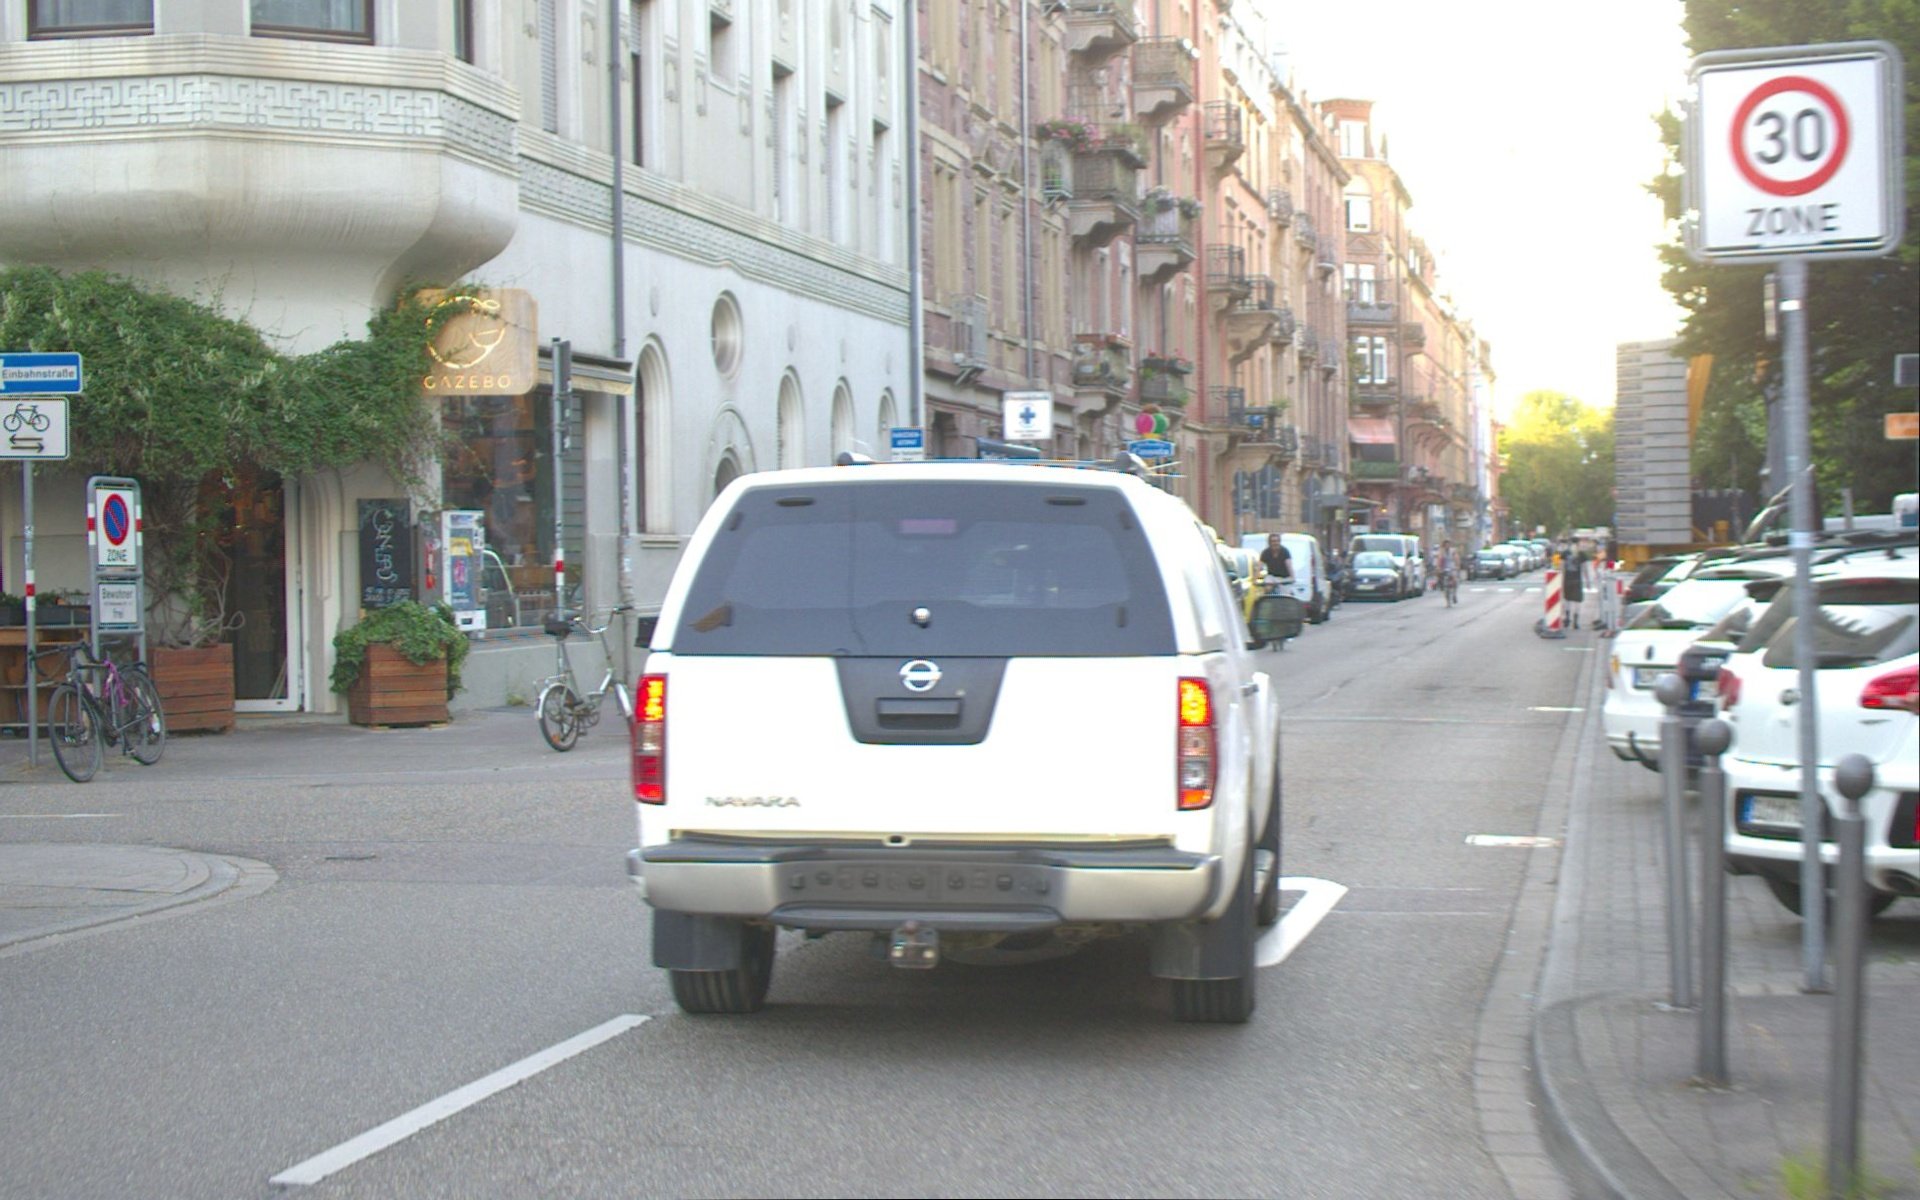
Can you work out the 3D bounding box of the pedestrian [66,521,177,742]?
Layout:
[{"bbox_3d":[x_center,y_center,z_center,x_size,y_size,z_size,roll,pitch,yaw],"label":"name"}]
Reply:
[{"bbox_3d":[-6.418,0.231,26.313,0.614,1.669,0.568,-1,1,-40],"label":"pedestrian"}]

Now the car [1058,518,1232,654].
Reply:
[{"bbox_3d":[2.810,-0.233,51.102,1.905,1.919,4.944,0,1,11],"label":"car"}]

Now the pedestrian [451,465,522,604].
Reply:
[{"bbox_3d":[-4.594,-0.633,33.374,0.539,1.345,0.518,0,1,12],"label":"pedestrian"}]

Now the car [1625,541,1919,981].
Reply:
[{"bbox_3d":[4.783,0.506,13.224,3.986,1.501,1.771,-1,1,-18],"label":"car"}]

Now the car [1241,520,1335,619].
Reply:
[{"bbox_3d":[6.714,-0.636,70.093,1.560,1.914,3.855,1,1,10],"label":"car"}]

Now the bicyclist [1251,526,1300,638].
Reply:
[{"bbox_3d":[4.789,-0.277,52.205,0.603,1.679,1.142,-1,1,11],"label":"bicyclist"}]

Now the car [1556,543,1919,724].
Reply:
[{"bbox_3d":[7.850,0.259,31.571,4.371,1.529,1.808,-1,1,-22],"label":"car"}]

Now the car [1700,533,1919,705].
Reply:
[{"bbox_3d":[9.741,0.141,34.826,3.986,1.631,1.759,-2,1,-9],"label":"car"}]

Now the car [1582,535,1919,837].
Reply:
[{"bbox_3d":[5.632,0.415,18.912,3.986,1.518,1.710,-1,-1,-20],"label":"car"}]

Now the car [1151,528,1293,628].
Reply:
[{"bbox_3d":[4.513,-0.395,58.739,1.994,1.647,3.998,0,1,10],"label":"car"}]

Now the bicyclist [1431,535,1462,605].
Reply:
[{"bbox_3d":[12.897,-0.809,91.060,0.800,1.843,0.943,0,1,9],"label":"bicyclist"}]

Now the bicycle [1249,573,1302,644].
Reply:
[{"bbox_3d":[4.794,0.116,52.204,0.615,1.036,1.903,-1,1,11],"label":"bicycle"}]

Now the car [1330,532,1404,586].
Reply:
[{"bbox_3d":[11.689,-1.178,98.597,1.792,1.525,3.998,0,1,11],"label":"car"}]

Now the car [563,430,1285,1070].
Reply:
[{"bbox_3d":[0.103,0.413,12.021,1.934,1.788,4.620,0,0,7],"label":"car"}]

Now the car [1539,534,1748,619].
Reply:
[{"bbox_3d":[14.487,-0.515,72.807,4.198,1.774,1.818,0,1,17],"label":"car"}]

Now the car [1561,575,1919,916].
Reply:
[{"bbox_3d":[5.125,0.610,16.504,3.986,1.468,1.876,-1,-1,-22],"label":"car"}]

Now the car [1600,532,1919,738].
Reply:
[{"bbox_3d":[6.969,0.227,26.475,3.593,1.477,1.723,-1,1,-17],"label":"car"}]

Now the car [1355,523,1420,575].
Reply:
[{"bbox_3d":[13.005,-1.551,104.452,1.711,1.525,3.998,0,1,11],"label":"car"}]

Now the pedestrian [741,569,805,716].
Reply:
[{"bbox_3d":[-1.731,0.389,31.840,0.468,1.345,0.611,0,1,10],"label":"pedestrian"}]

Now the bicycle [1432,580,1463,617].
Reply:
[{"bbox_3d":[12.924,-0.042,91.151,0.800,0.944,2.004,0,1,9],"label":"bicycle"}]

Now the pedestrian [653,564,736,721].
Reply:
[{"bbox_3d":[-2.263,0.353,29.339,0.537,1.320,0.704,0,1,11],"label":"pedestrian"}]

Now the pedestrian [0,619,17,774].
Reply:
[{"bbox_3d":[-7.809,0.762,27.031,0.530,1.210,0.606,-1,1,11],"label":"pedestrian"}]

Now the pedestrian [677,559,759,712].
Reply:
[{"bbox_3d":[-2.114,0.302,30.088,0.537,1.320,0.704,0,1,11],"label":"pedestrian"}]

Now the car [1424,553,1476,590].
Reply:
[{"bbox_3d":[21.439,-1.250,150.216,1.848,1.546,4.353,0,1,13],"label":"car"}]

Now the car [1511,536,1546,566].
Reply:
[{"bbox_3d":[34.956,-3.030,211.351,1.994,1.778,3.998,0,1,12],"label":"car"}]

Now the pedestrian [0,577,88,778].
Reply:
[{"bbox_3d":[-6.896,0.568,25.538,0.572,1.464,0.644,-1,1,9],"label":"pedestrian"}]

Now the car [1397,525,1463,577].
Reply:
[{"bbox_3d":[16.743,-1.751,122.335,1.994,1.778,4.217,0,1,12],"label":"car"}]

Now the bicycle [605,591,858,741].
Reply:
[{"bbox_3d":[-1.790,0.498,26.705,2.114,1.091,0.500,1,2,36],"label":"bicycle"}]

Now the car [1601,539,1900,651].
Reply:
[{"bbox_3d":[11.289,-0.094,49.083,3.824,1.432,1.763,-2,1,-24],"label":"car"}]

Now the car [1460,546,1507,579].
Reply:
[{"bbox_3d":[25.231,-1.829,165.648,1.848,1.546,4.352,0,1,14],"label":"car"}]

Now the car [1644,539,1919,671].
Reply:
[{"bbox_3d":[10.503,0.035,42.907,3.395,1.469,1.775,-3,2,-20],"label":"car"}]

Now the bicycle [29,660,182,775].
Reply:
[{"bbox_3d":[-6.170,0.837,24.909,0.423,0.693,1.779,-1,3,8],"label":"bicycle"}]

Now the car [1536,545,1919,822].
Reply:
[{"bbox_3d":[5.701,0.442,21.045,3.986,1.532,1.636,-1,1,-20],"label":"car"}]

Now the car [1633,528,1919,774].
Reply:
[{"bbox_3d":[6.670,0.295,23.748,3.593,1.575,1.716,-1,1,-22],"label":"car"}]

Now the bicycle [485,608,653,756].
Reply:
[{"bbox_3d":[-2.930,0.597,25.887,0.424,1.009,1.716,0,2,24],"label":"bicycle"}]

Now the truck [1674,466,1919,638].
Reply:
[{"bbox_3d":[16.023,-0.836,61.521,6.324,2.966,2.263,0,-2,12],"label":"truck"}]

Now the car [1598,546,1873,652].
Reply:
[{"bbox_3d":[11.576,-0.042,51.303,3.880,1.525,1.638,0,1,-28],"label":"car"}]
